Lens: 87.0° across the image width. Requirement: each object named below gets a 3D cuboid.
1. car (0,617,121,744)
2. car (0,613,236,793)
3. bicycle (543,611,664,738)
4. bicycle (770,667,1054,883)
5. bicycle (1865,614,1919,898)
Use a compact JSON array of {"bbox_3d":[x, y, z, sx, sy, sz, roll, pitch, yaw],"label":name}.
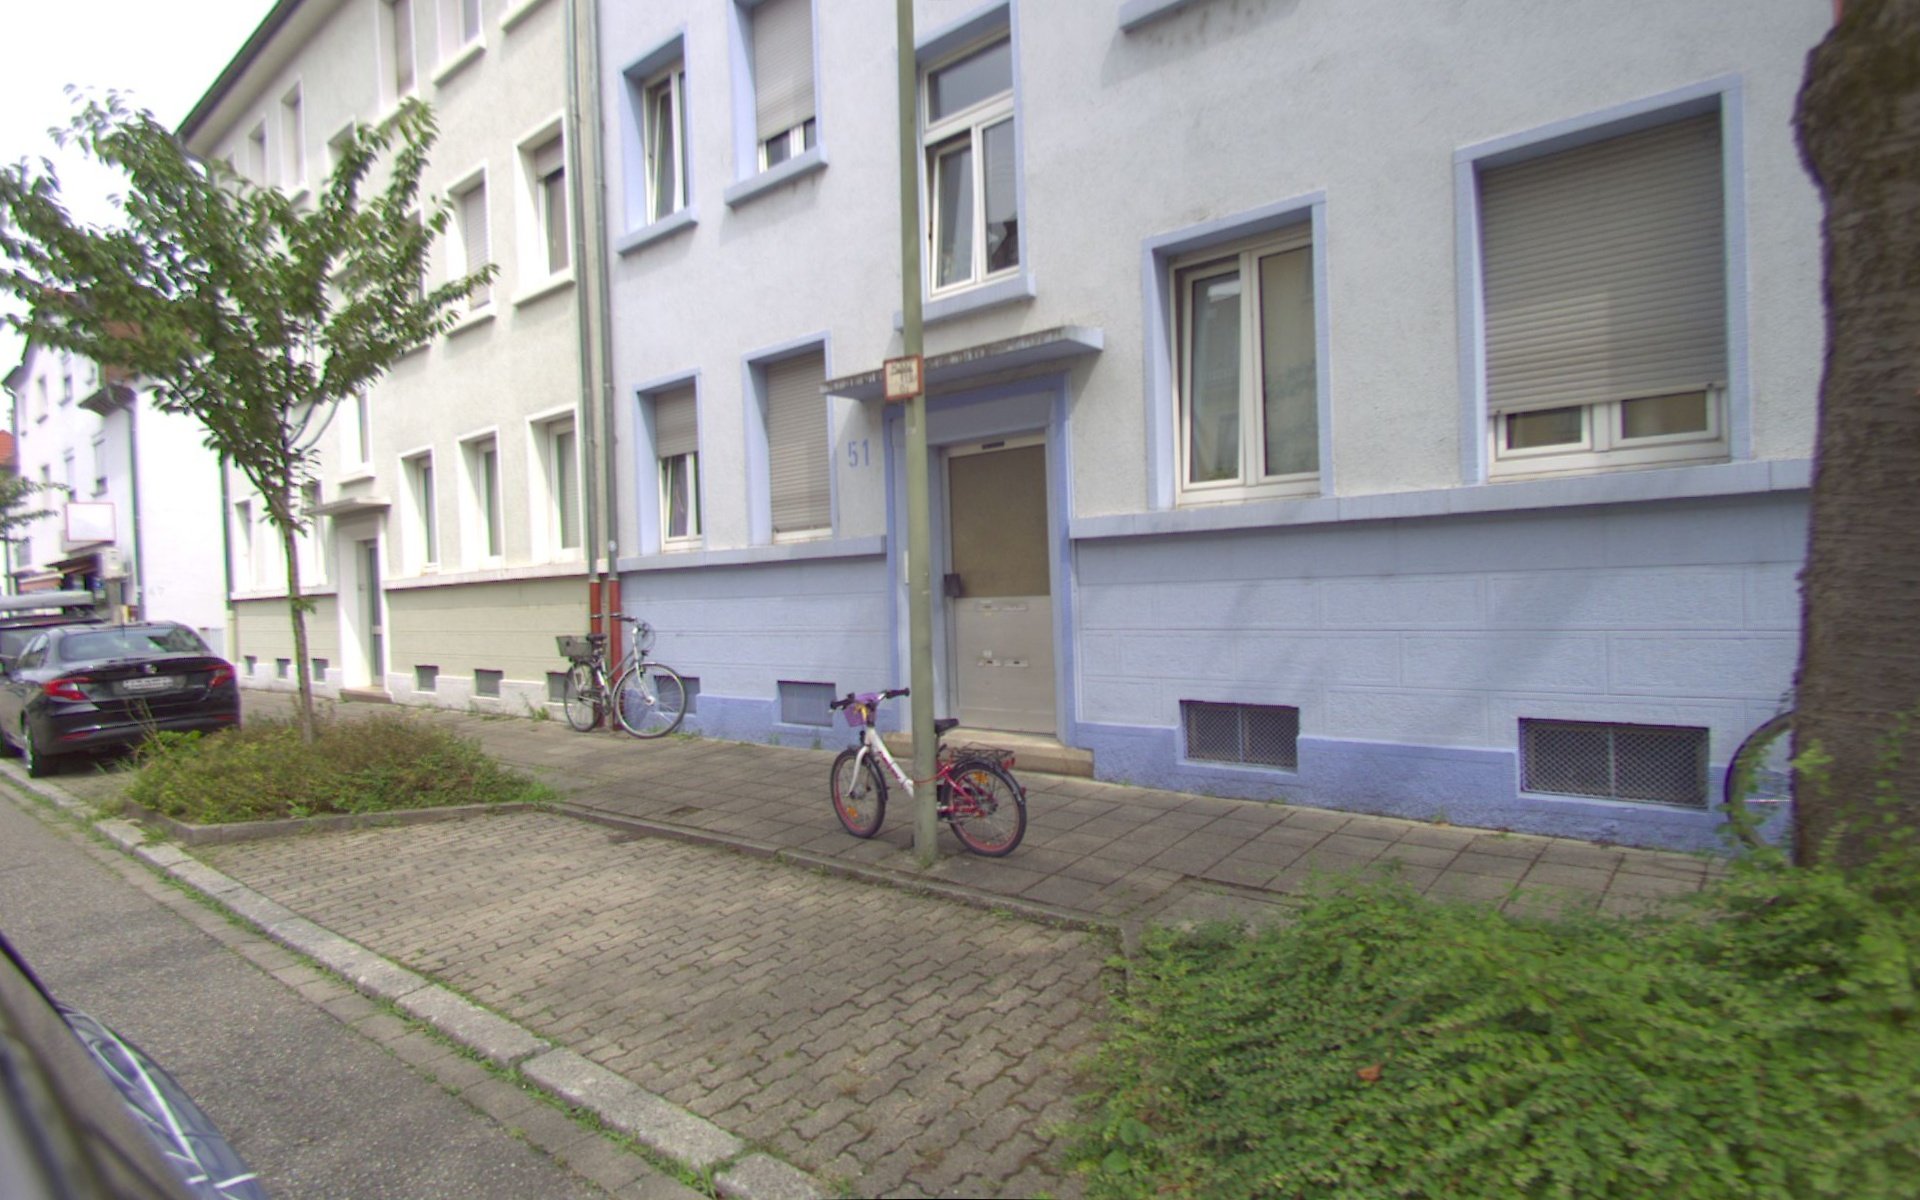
[{"bbox_3d":[-14.028,1.108,14.914,4.244,1.594,1.677,-1,2,39],"label":"car"},{"bbox_3d":[-9.694,0.981,11.254,4.247,1.554,1.685,-1,2,41],"label":"car"},{"bbox_3d":[-3.422,0.678,9.664,1.537,1.122,0.363,-1,-1,40],"label":"bicycle"},{"bbox_3d":[-0.291,0.821,5.149,1.537,0.879,0.409,-1,3,40],"label":"bicycle"},{"bbox_3d":[4.035,0.546,3.309,1.568,1.003,0.363,-1,0,40],"label":"bicycle"}]
